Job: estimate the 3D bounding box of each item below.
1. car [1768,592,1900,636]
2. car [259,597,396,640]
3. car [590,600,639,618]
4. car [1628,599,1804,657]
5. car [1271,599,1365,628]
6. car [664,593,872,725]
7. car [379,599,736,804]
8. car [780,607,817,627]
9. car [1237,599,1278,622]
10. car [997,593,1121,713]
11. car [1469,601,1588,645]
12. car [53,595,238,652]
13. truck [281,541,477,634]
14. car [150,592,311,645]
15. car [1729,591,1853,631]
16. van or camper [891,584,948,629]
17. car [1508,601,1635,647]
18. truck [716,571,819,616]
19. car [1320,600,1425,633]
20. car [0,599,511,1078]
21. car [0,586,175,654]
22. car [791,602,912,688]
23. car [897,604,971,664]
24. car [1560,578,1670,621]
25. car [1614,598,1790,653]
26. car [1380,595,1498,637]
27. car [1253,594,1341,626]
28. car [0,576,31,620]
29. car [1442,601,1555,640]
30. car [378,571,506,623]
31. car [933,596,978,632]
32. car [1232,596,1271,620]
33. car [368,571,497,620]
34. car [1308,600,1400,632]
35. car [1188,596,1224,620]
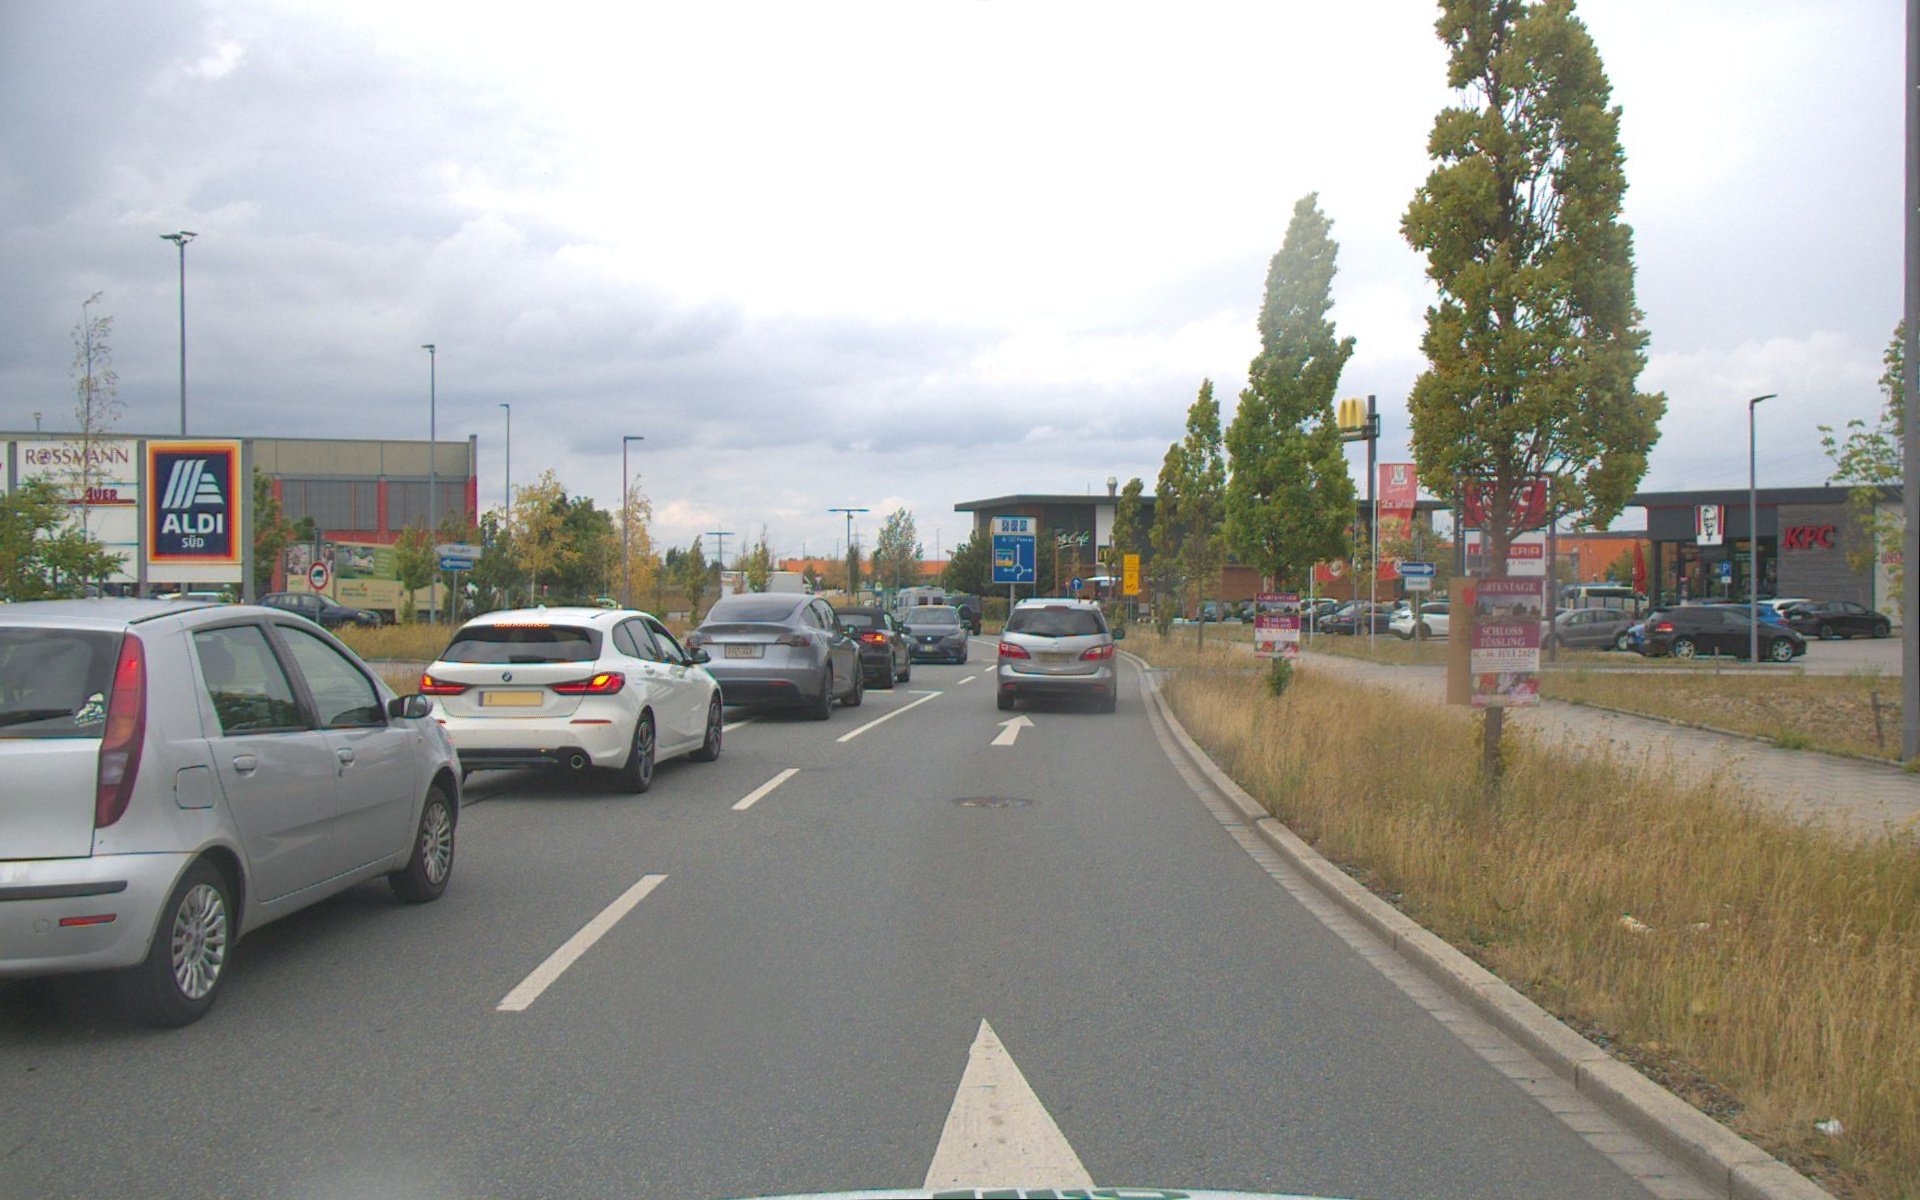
[{"bbox_3d":[34.001,0.531,64.354,4.491,1.545,1.967,-1,0,-18],"label":"car"},{"bbox_3d":[-22.594,0.644,59.198,4.147,1.460,1.997,0,0,-3],"label":"car"},{"bbox_3d":[-30.067,0.766,143.938,3.907,1.542,1.999,0,0,-3],"label":"car"},{"bbox_3d":[20.398,0.735,44.754,3.902,1.520,1.983,0,0,5],"label":"car"},{"bbox_3d":[18.733,0.708,86.617,4.393,1.461,2.066,0,0,-15],"label":"car"},{"bbox_3d":[-2.463,0.707,22.411,1.951,1.588,4.615,0,0,4],"label":"car"},{"bbox_3d":[-3.241,0.759,14.238,1.840,1.494,4.194,0,0,3],"label":"car"},{"bbox_3d":[-12.502,1.316,128.046,1.964,1.542,3.976,0,0,-20],"label":"car"},{"bbox_3d":[18.066,0.637,100.340,1.774,1.336,3.850,0,0,20],"label":"car"},{"bbox_3d":[1.530,0.732,24.813,1.693,1.628,3.809,1,0,5],"label":"car"},{"bbox_3d":[21.255,0.860,61.911,3.783,1.507,1.902,-2,0,-1],"label":"car"},{"bbox_3d":[-22.854,0.647,46.507,4.153,1.540,2.047,0,0,4],"label":"car"},{"bbox_3d":[-23.662,-0.481,67.935,2.791,3.603,8.429,0,0,21],"label":"truck"},{"bbox_3d":[-22.711,0.551,51.607,4.165,1.586,1.987,0,0,-6],"label":"car"},{"bbox_3d":[34.985,0.463,69.660,4.488,1.545,2.072,-1,0,-16],"label":"car"},{"bbox_3d":[-2.427,0.385,96.908,2.264,2.550,5.187,0,0,-14],"label":"van or camper"},{"bbox_3d":[21.081,0.820,57.098,3.680,1.520,1.890,0,0,0],"label":"car"},{"bbox_3d":[-17.486,-0.557,150.730,9.248,3.975,3.098,0,0,-40],"label":"truck"},{"bbox_3d":[19.607,0.758,78.750,4.437,1.494,2.026,0,0,-12],"label":"car"},{"bbox_3d":[-3.366,0.746,7.171,1.667,1.463,4.033,0,0,1],"label":"car"},{"bbox_3d":[-23.299,0.518,43.667,4.156,1.753,2.028,0,0,-1],"label":"car"},{"bbox_3d":[-1.926,0.796,30.585,1.732,1.463,4.232,0,-1,3],"label":"car"},{"bbox_3d":[-0.630,0.830,42.286,1.792,1.445,4.245,0,0,0],"label":"car"},{"bbox_3d":[37.989,-0.041,95.973,5.576,2.392,2.527,0,0,-14],"label":"car"},{"bbox_3d":[21.164,0.717,47.305,4.173,1.546,1.966,0,0,3],"label":"car"},{"bbox_3d":[20.773,0.674,71.808,4.474,1.673,2.085,-2,0,-7],"label":"car"},{"bbox_3d":[18.164,0.515,89.066,4.278,1.668,1.928,0,0,-17],"label":"car"},{"bbox_3d":[-42.281,-0.067,72.596,1.965,1.882,4.241,0,0,-21],"label":"car"},{"bbox_3d":[21.741,0.831,66.829,3.907,1.511,1.939,-1,-1,-3],"label":"car"},{"bbox_3d":[-27.056,-0.141,86.657,6.302,2.644,2.234,0,0,-16],"label":"car"},{"bbox_3d":[-0.289,0.718,87.033,2.018,1.858,4.781,0,0,-5],"label":"car"},{"bbox_3d":[22.008,0.606,124.862,2.072,1.747,4.230,0,0,22],"label":"car"},{"bbox_3d":[-25.998,-0.198,81.758,5.971,2.347,2.200,0,0,-17],"label":"car"},{"bbox_3d":[19.468,0.766,81.724,4.014,1.463,1.936,-1,0,-13],"label":"car"},{"bbox_3d":[18.348,0.566,123.288,1.952,1.747,4.002,0,0,18],"label":"car"}]
